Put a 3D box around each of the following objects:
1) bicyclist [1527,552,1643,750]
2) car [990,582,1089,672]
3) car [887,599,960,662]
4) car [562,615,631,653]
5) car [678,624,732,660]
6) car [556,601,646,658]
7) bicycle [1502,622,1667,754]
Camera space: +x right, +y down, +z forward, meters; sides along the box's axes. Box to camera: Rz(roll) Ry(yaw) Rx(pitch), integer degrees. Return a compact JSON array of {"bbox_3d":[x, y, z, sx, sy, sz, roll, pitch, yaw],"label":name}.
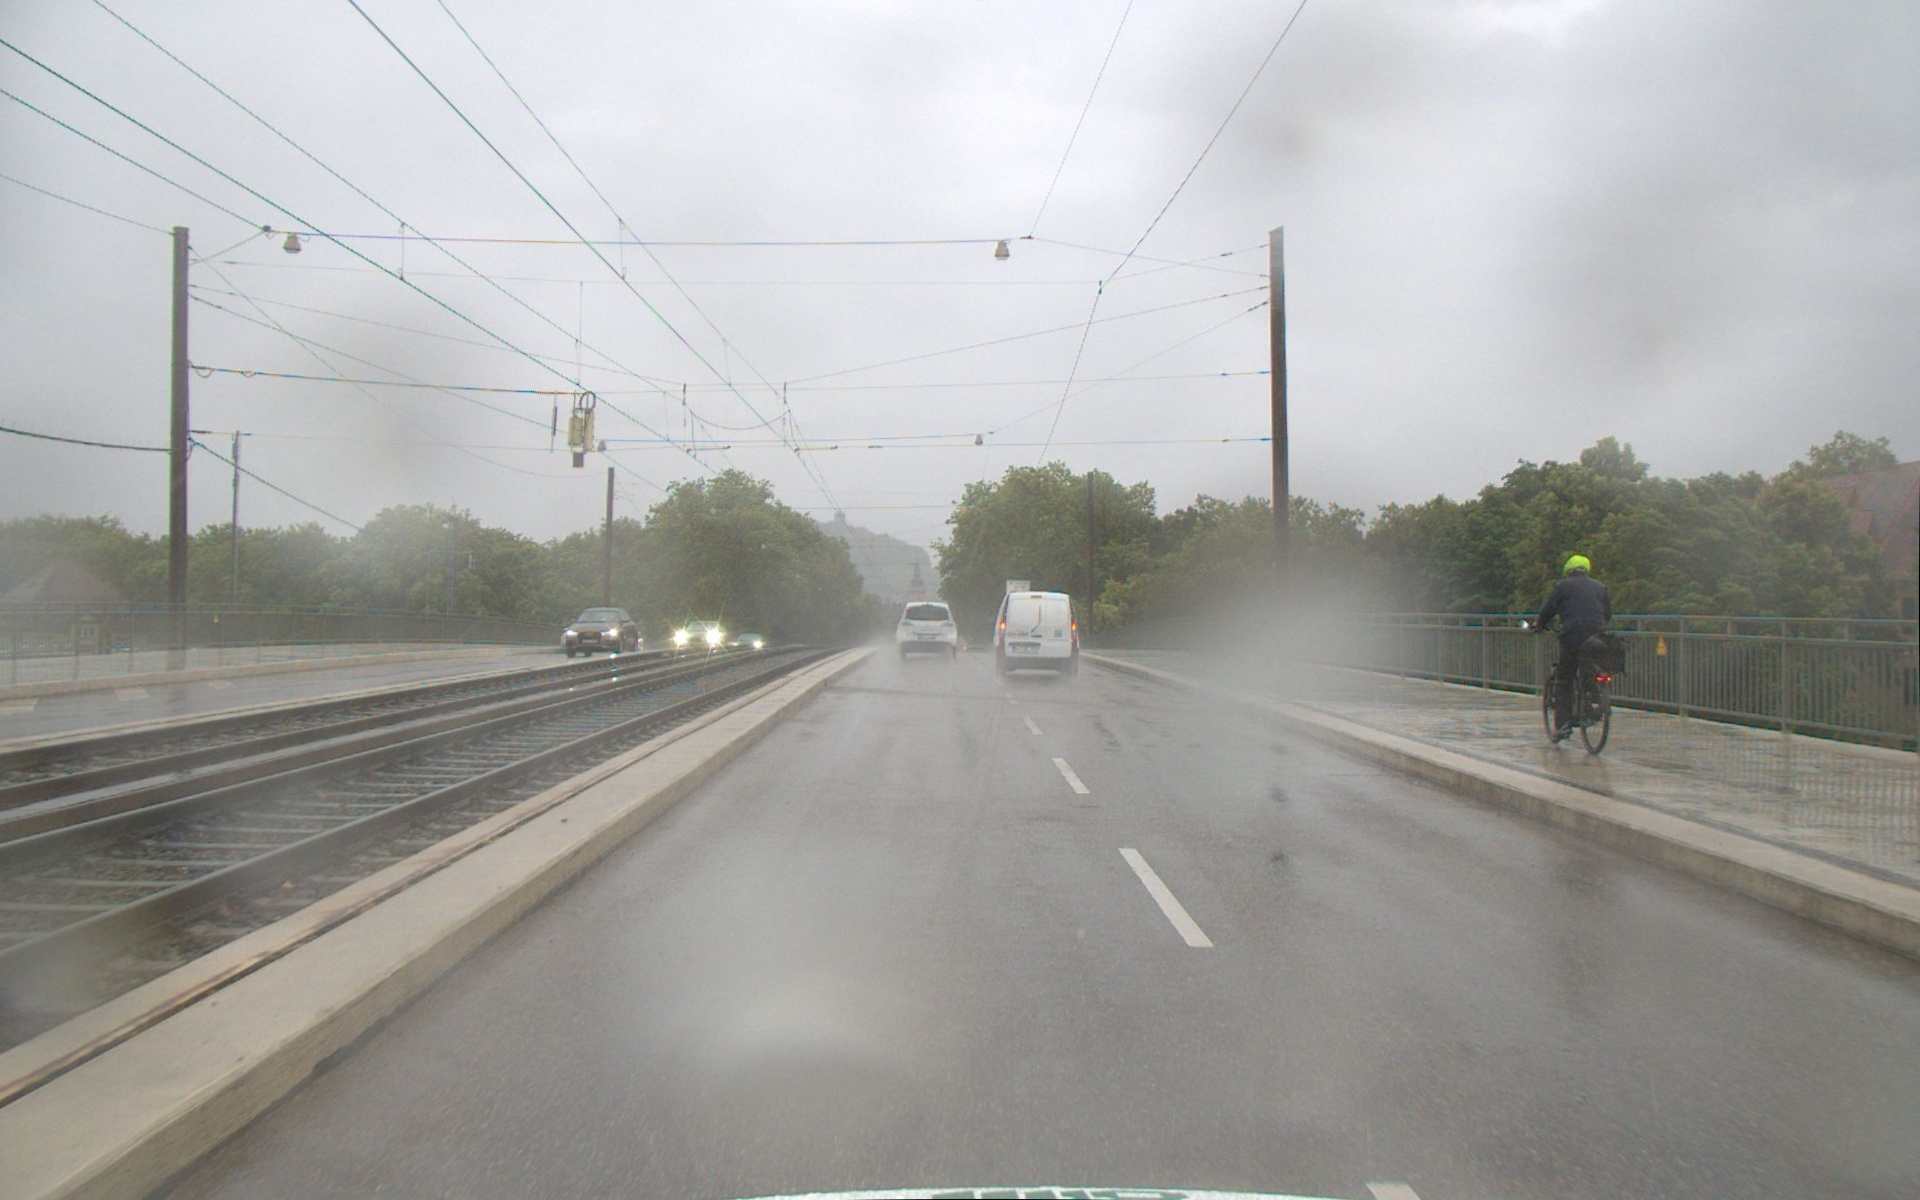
[{"bbox_3d":[5.908,0.481,15.681,0.711,1.795,0.949,2,-2,-1],"label":"bicyclist"},{"bbox_3d":[1.652,0.616,35.562,1.952,1.757,4.000,2,-2,1],"label":"car"},{"bbox_3d":[-1.052,0.951,49.553,1.952,1.747,4.000,2,-2,1],"label":"car"},{"bbox_3d":[-15.215,1.470,69.401,1.953,1.481,4.618,-1,-2,-2],"label":"car"},{"bbox_3d":[-11.797,1.968,76.862,1.954,1.536,5.109,-1,-2,-3],"label":"car"},{"bbox_3d":[-11.946,1.027,55.343,1.953,1.747,4.939,-1,-2,-1],"label":"car"},{"bbox_3d":[5.898,0.797,15.763,0.708,1.149,2.167,2,-1,-1],"label":"bicycle"}]
